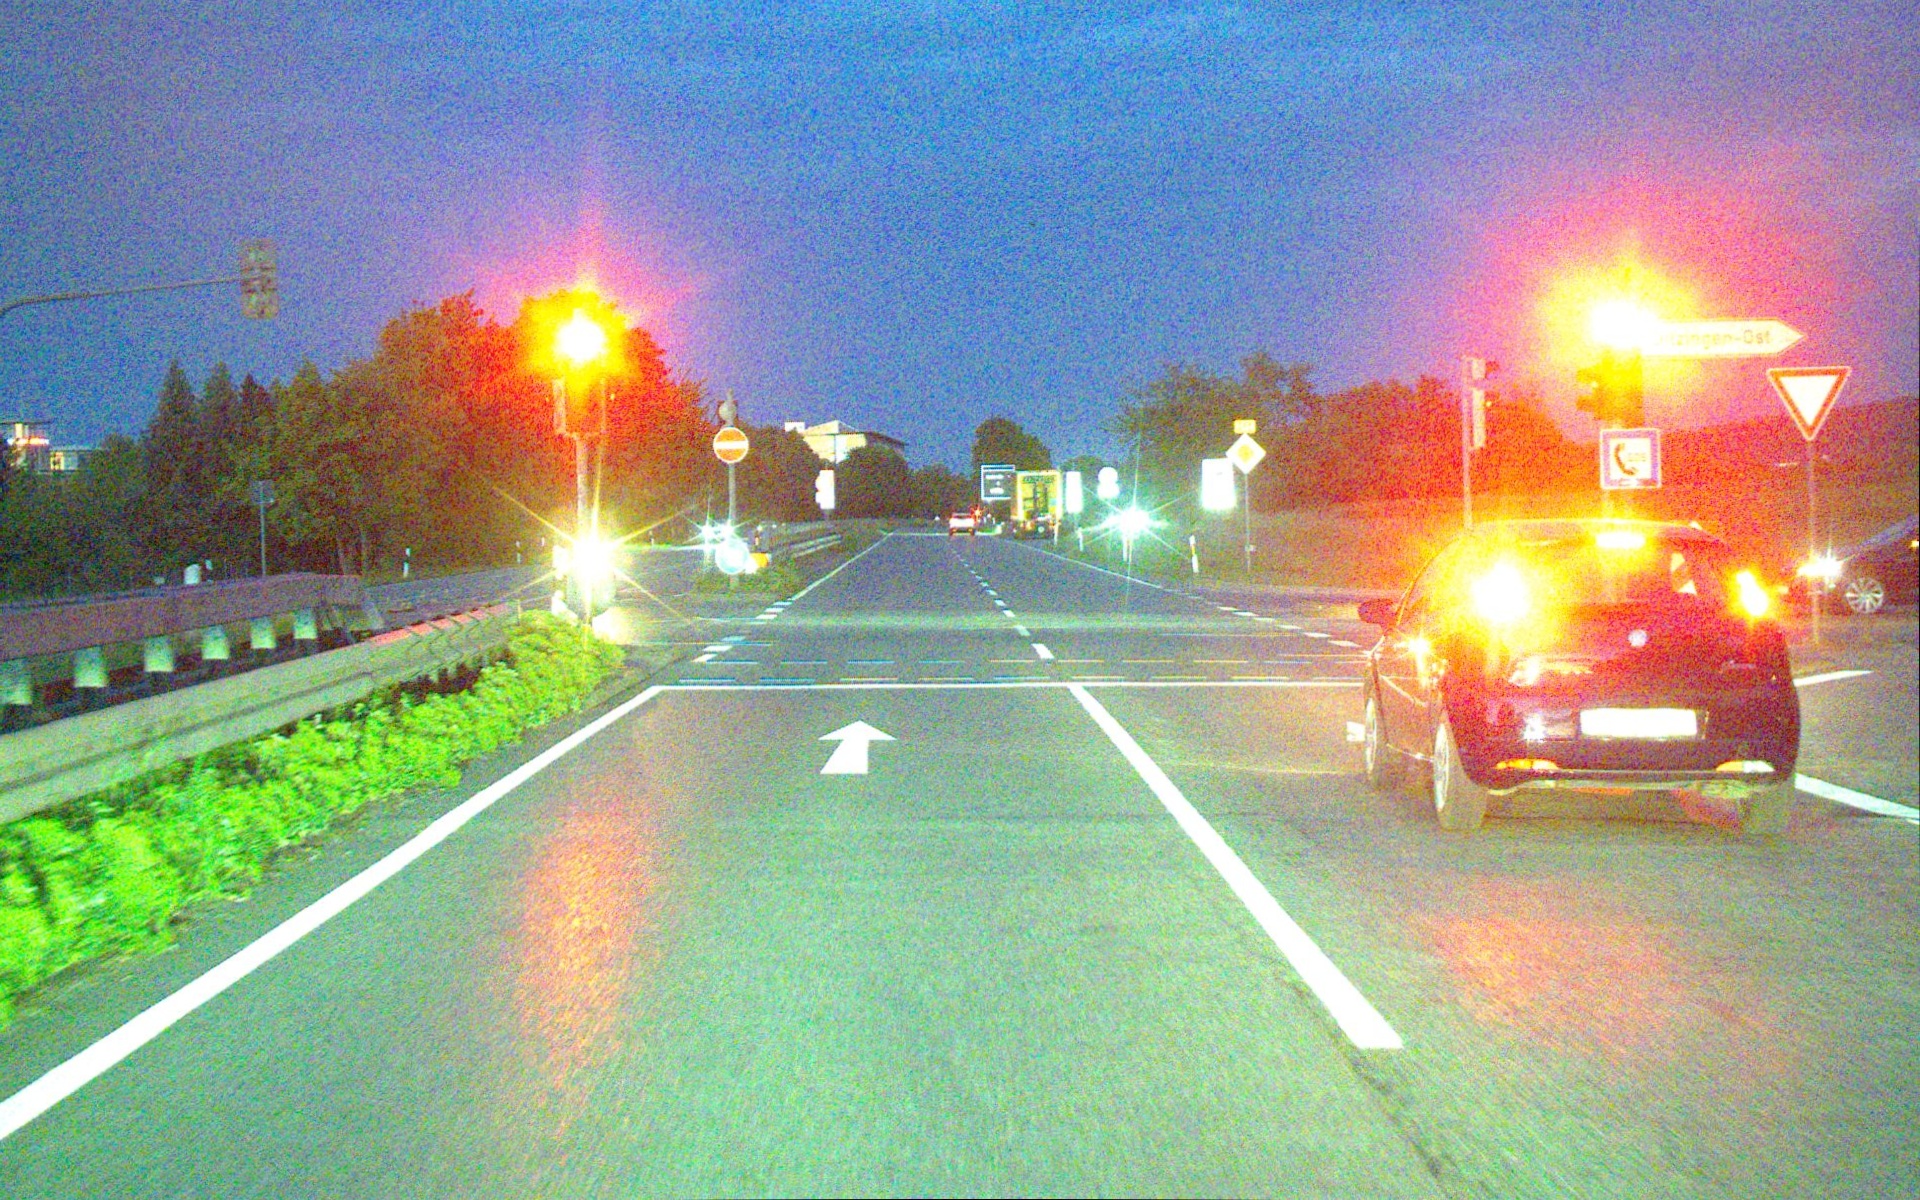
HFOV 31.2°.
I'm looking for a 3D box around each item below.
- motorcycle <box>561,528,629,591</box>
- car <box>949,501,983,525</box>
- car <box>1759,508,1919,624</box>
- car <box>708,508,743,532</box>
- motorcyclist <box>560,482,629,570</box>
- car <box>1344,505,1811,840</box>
[{"bbox_3d":[-6.723,-0.760,63.203,0.979,1.095,2.509,-2,2,-11],"label":"motorcycle"},{"bbox_3d":[0.438,-6.222,246.428,2.273,1.626,4.001,-2,2,-2],"label":"car"},{"bbox_3d":[13.783,-0.531,48.317,4.600,1.515,2.000,-2,2,0],"label":"car"},{"bbox_3d":[-14.980,-5.118,219.686,1.993,1.514,4.298,-1,2,-1],"label":"car"},{"bbox_3d":[-6.716,-1.362,63.111,1.137,1.579,0.973,-2,2,-11],"label":"motorcyclist"},{"bbox_3d":[3.017,0.272,17.575,1.670,1.515,4.106,0,2,0],"label":"car"}]
